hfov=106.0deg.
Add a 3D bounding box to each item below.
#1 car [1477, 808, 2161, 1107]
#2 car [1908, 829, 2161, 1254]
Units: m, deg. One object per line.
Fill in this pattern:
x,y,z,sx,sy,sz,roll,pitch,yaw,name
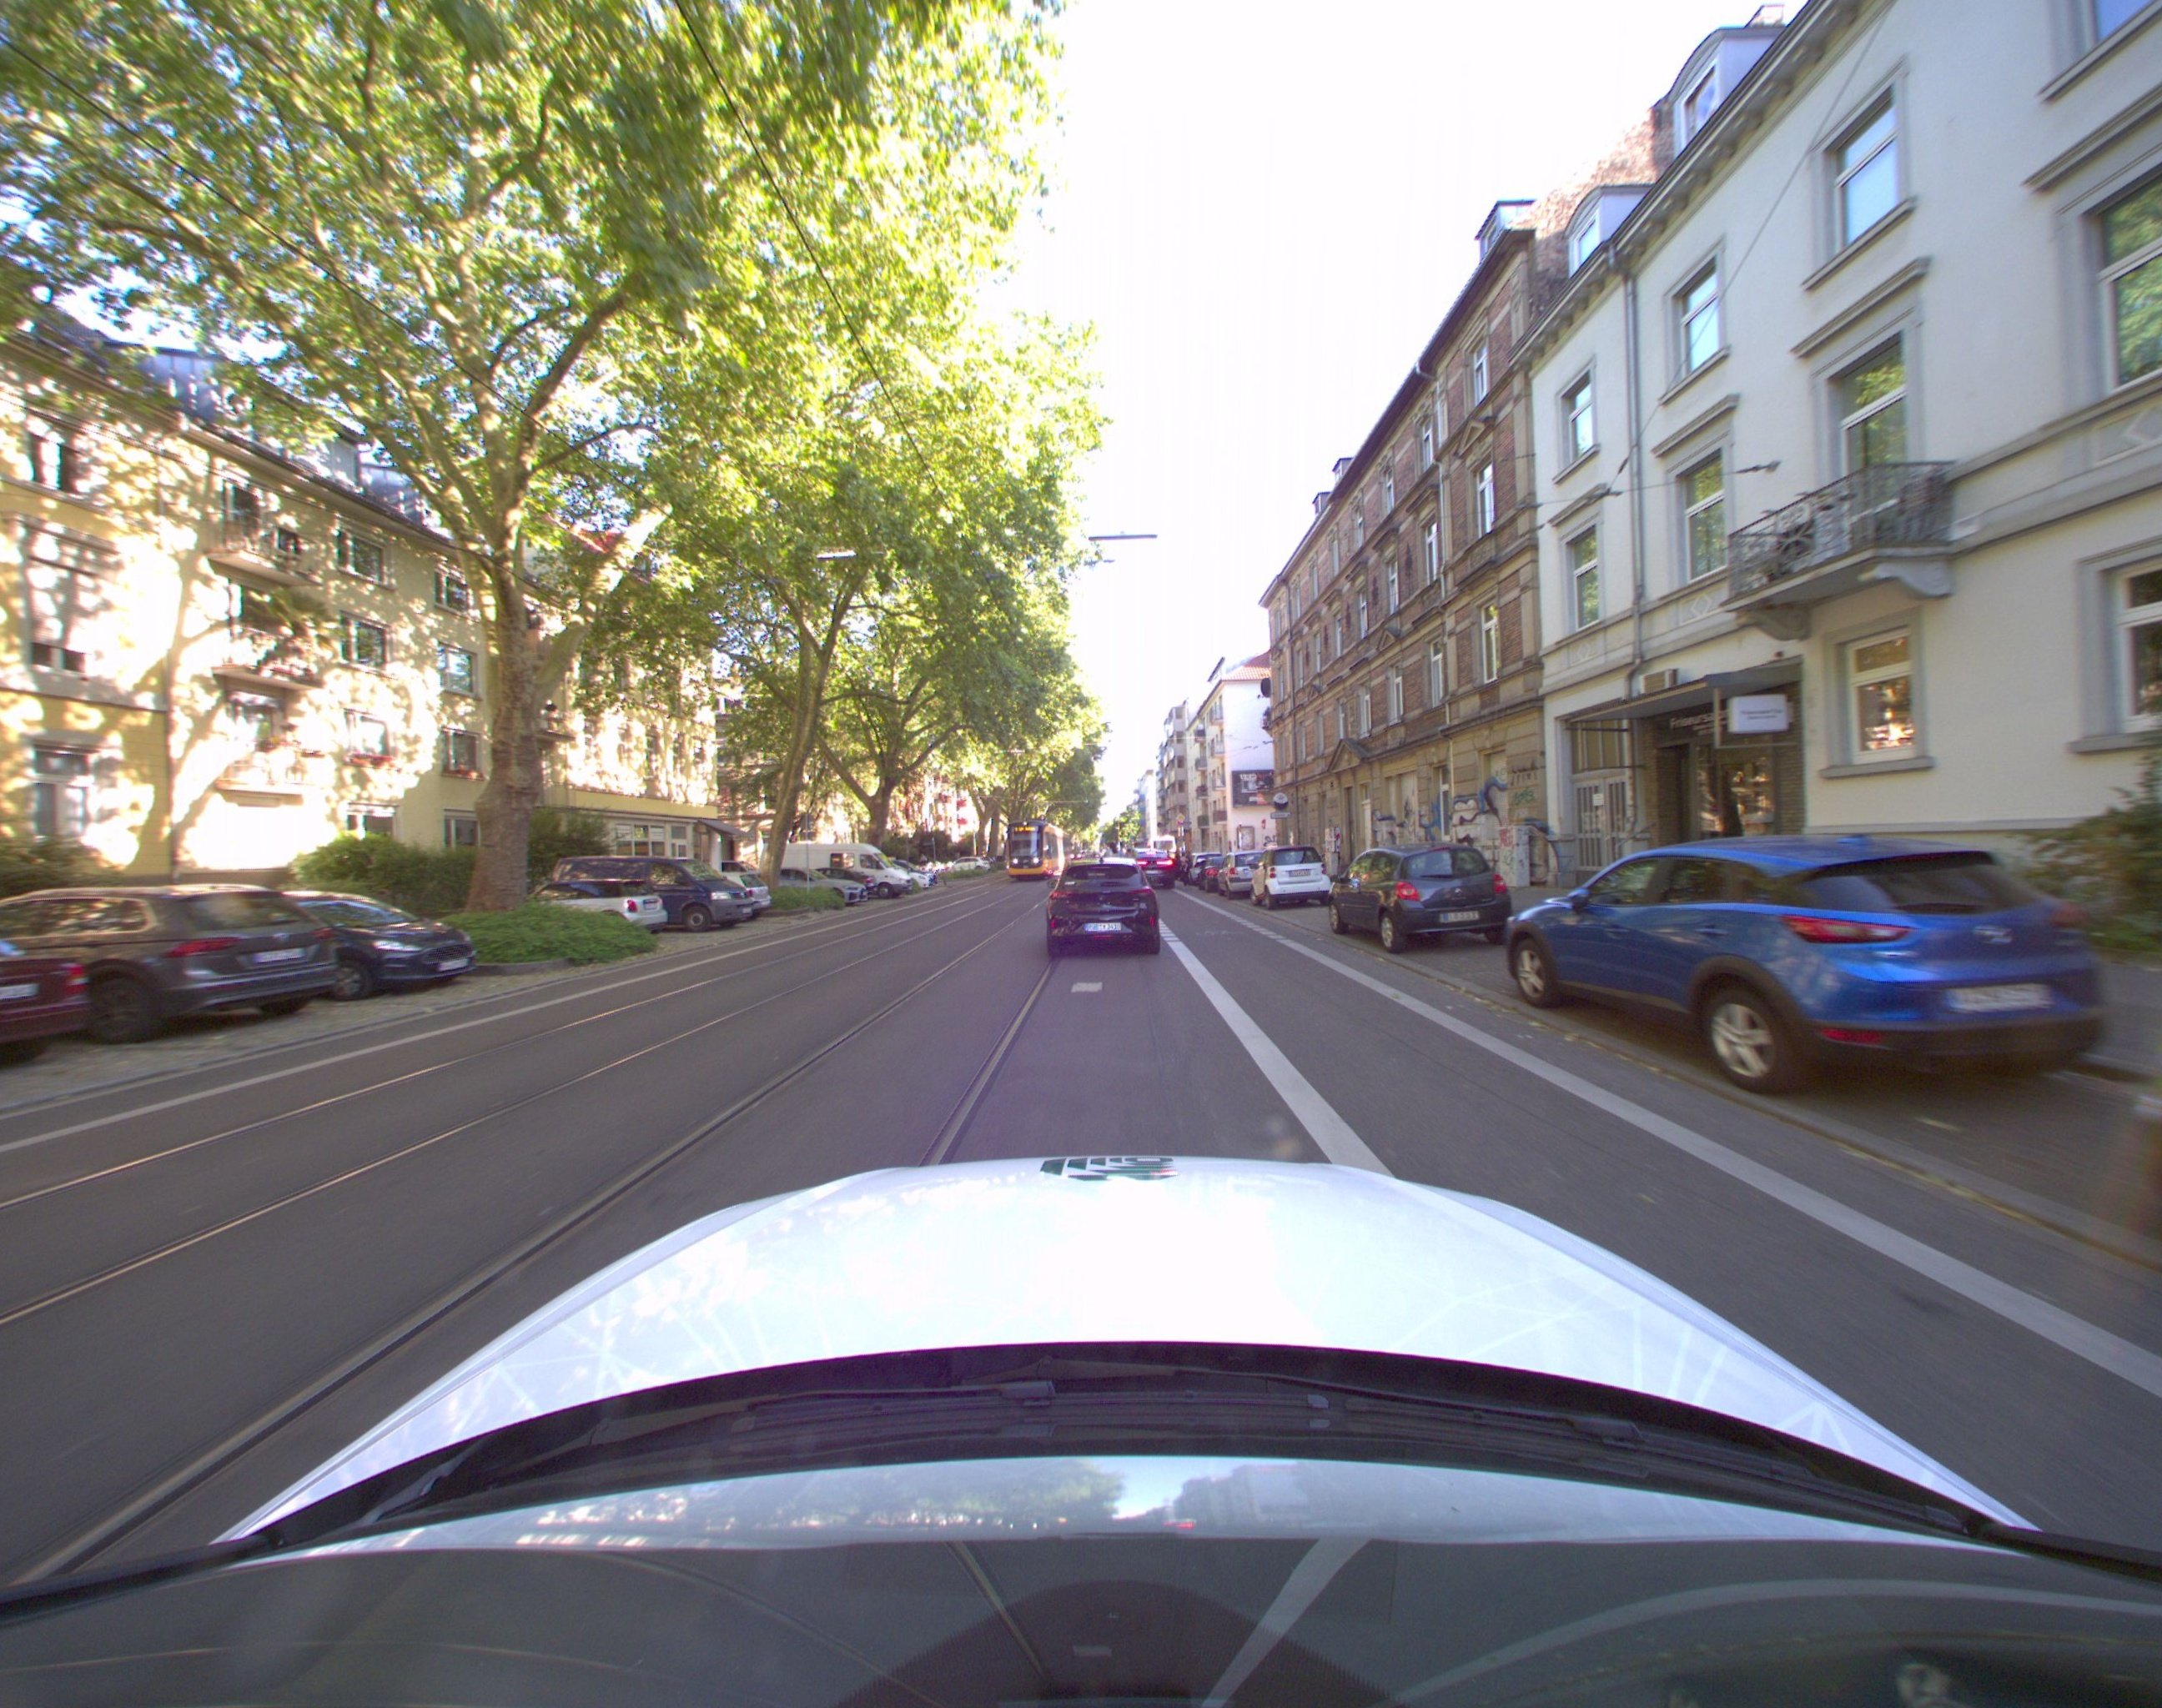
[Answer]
5.014,0.561,6.418,1.873,1.456,4.028,-5,0,3,car
4.717,0.634,1.838,1.793,1.456,3.768,-5,0,0,car
